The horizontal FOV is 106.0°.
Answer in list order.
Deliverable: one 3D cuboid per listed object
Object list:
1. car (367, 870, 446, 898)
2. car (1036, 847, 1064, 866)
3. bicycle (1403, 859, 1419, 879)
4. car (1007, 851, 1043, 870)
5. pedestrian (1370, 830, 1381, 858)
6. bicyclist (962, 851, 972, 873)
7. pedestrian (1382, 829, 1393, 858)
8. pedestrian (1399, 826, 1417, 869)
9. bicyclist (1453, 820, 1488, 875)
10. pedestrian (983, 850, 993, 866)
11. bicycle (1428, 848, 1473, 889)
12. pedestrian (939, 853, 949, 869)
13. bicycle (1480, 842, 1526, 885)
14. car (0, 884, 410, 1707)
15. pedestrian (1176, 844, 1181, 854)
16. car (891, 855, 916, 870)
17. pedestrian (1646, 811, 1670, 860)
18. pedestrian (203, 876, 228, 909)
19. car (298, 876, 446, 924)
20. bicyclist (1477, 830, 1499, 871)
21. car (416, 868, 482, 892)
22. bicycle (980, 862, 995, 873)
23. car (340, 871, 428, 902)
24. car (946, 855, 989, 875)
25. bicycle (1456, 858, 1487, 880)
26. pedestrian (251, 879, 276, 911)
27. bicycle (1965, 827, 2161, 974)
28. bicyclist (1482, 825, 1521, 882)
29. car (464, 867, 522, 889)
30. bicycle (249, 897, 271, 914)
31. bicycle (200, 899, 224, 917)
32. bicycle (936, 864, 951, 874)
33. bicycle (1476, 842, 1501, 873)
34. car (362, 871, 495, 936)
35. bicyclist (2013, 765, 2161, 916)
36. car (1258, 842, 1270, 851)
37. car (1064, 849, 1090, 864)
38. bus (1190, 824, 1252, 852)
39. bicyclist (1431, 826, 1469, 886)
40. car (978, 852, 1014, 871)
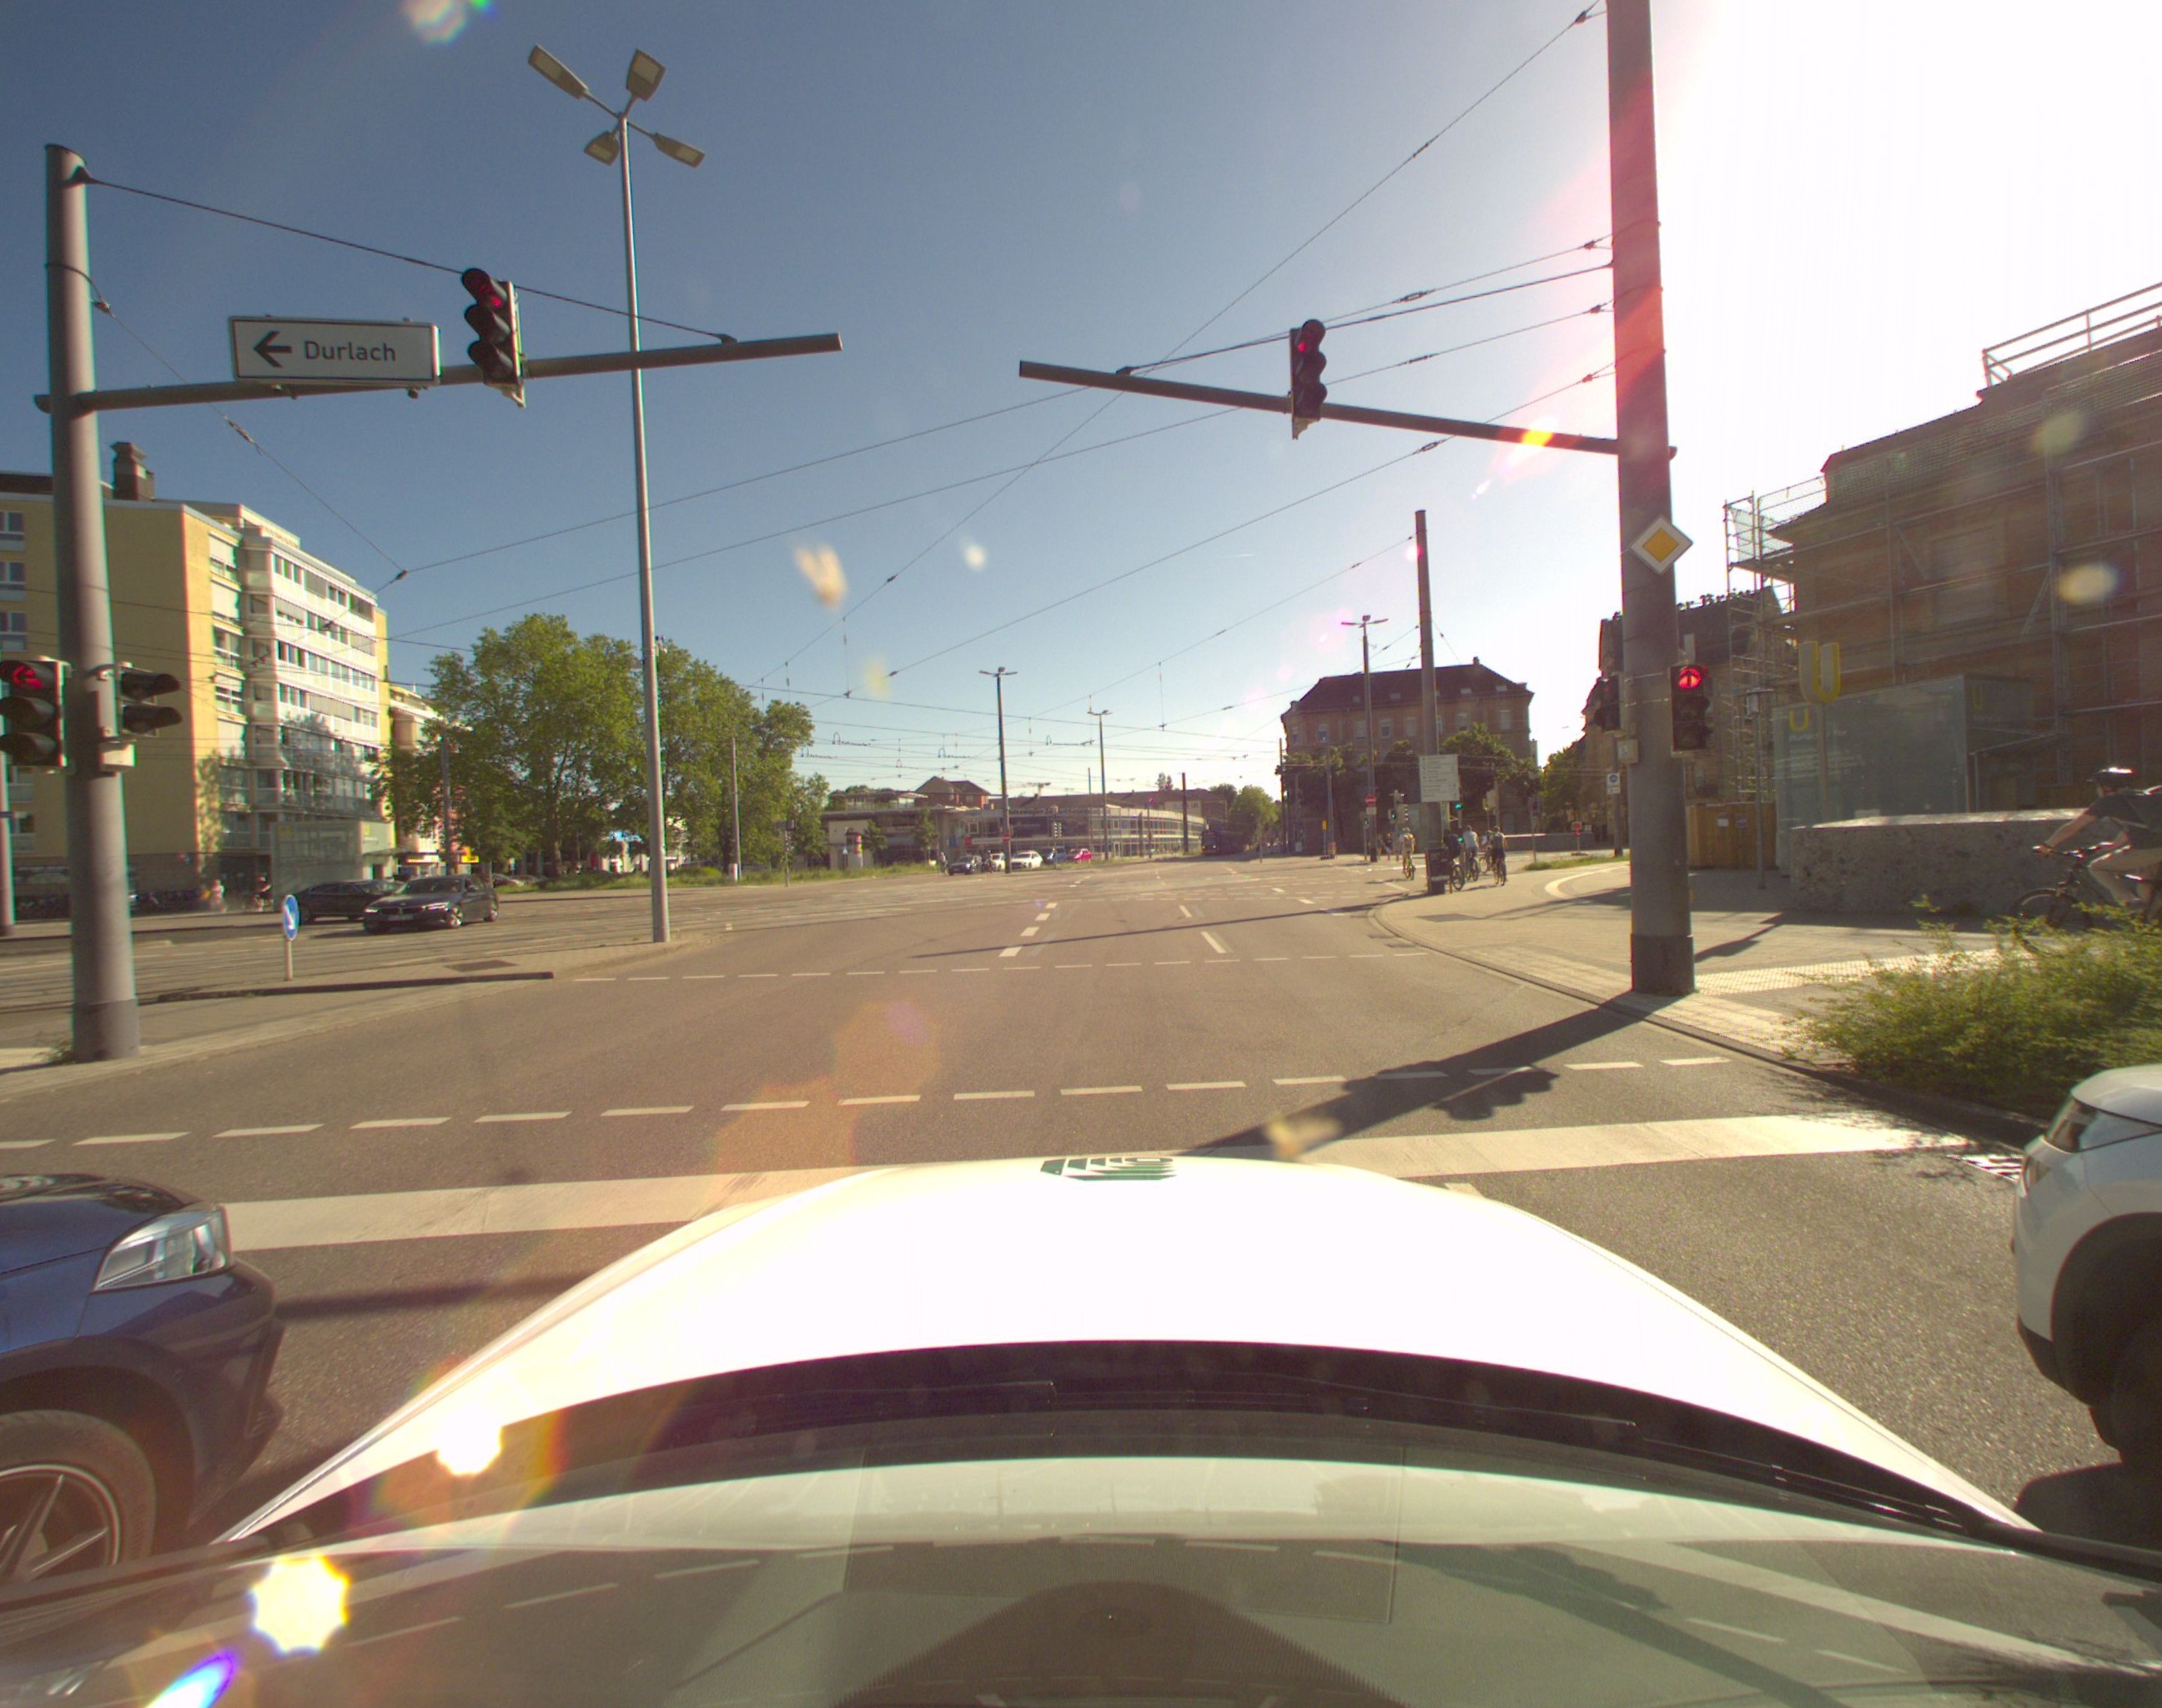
[{"bbox_3d":[-45.729,1.993,55.274,3.742,1.662,1.585,-2,0,-18],"label":"car"},{"bbox_3d":[-2.994,0.241,79.213,1.613,1.692,3.702,-2,0,17],"label":"car"},{"bbox_3d":[12.069,0.541,29.802,0.532,0.655,1.735,-3,0,22],"label":"bicycle"},{"bbox_3d":[-4.475,0.512,65.220,1.613,1.382,3.754,-2,0,17],"label":"car"},{"bbox_3d":[21.364,-0.713,59.094,0.574,2.013,0.449,-3,0,-16],"label":"pedestrian"},{"bbox_3d":[-9.335,0.664,66.674,0.564,1.713,0.651,-2,0,14],"label":"bicyclist"},{"bbox_3d":[21.799,-0.741,57.898,0.461,2.013,0.449,-3,0,-16],"label":"pedestrian"},{"bbox_3d":[11.952,-0.240,29.778,0.543,1.562,0.863,-2,0,22],"label":"pedestrian"},{"bbox_3d":[13.222,-0.217,27.682,0.742,1.778,0.926,-3,0,9],"label":"bicyclist"},{"bbox_3d":[-6.935,0.294,60.714,0.419,1.204,0.753,-2,0,19],"label":"pedestrian"},{"bbox_3d":[10.736,0.418,23.719,0.622,1.114,1.855,-5,-1,8],"label":"bicycle"},{"bbox_3d":[-10.852,0.537,64.564,0.419,1.204,0.684,-2,0,20],"label":"pedestrian"},{"bbox_3d":[12.321,0.270,23.843,0.680,1.163,1.890,-4,-1,13],"label":"bicycle"},{"bbox_3d":[-2.673,0.810,0.110,1.704,1.445,4.034,-1,0,2],"label":"car"},{"bbox_3d":[15.981,-0.839,133.164,0.537,1.688,0.633,-2,0,22],"label":"pedestrian"},{"bbox_3d":[-21.871,1.076,100.591,1.958,1.706,4.085,-2,0,2],"label":"car"},{"bbox_3d":[22.744,-0.727,32.129,0.692,1.881,0.725,-2,0,34],"label":"pedestrian"},{"bbox_3d":[-43.493,1.928,40.925,0.719,1.560,0.551,-2,0,-36],"label":"pedestrian"},{"bbox_3d":[-24.552,1.575,28.241,4.133,1.438,1.734,-2,0,13],"label":"car"},{"bbox_3d":[15.889,-0.147,31.823,0.567,1.568,0.951,-3,0,18],"label":"bicyclist"},{"bbox_3d":[-49.817,2.050,64.292,3.742,1.662,1.585,-2,0,-18],"label":"car"},{"bbox_3d":[-6.969,1.004,60.543,0.419,0.718,1.642,-2,0,19],"label":"bicycle"},{"bbox_3d":[-42.856,1.955,50.163,3.742,1.662,1.585,-2,0,-18],"label":"car"},{"bbox_3d":[-8.500,0.784,61.240,1.689,1.354,3.719,-2,0,19],"label":"car"},{"bbox_3d":[13.249,0.496,27.640,0.534,0.655,1.471,-3,0,9],"label":"bicycle"},{"bbox_3d":[-42.030,2.108,41.869,0.771,1.560,0.609,-2,0,-34],"label":"pedestrian"},{"bbox_3d":[9.499,0.384,7.498,0.687,1.218,1.836,-4,0,2],"label":"bicycle"},{"bbox_3d":[12.325,-0.026,23.902,0.680,1.598,0.981,-4,-1,13],"label":"bicyclist"},{"bbox_3d":[-51.391,2.078,71.216,3.742,1.662,1.585,-2,0,-18],"label":"car"},{"bbox_3d":[-42.026,2.618,41.704,0.462,0.780,1.789,-2,0,-35],"label":"bicycle"},{"bbox_3d":[-43.573,2.679,40.829,0.489,0.812,1.595,-2,0,-35],"label":"bicycle"},{"bbox_3d":[-10.859,1.204,64.472,0.419,0.718,1.483,-2,0,21],"label":"bicycle"},{"bbox_3d":[15.904,0.127,31.819,0.567,1.125,1.748,-3,0,18],"label":"bicycle"},{"bbox_3d":[-18.025,1.295,22.745,1.868,1.501,4.529,-2,0,-26],"label":"car"},{"bbox_3d":[9.441,-0.137,7.450,0.717,1.279,0.908,-4,0,1],"label":"bicyclist"},{"bbox_3d":[32.532,-1.346,144.891,1.686,1.503,4.284,-2,0,17],"label":"car"},{"bbox_3d":[-0.441,0.248,86.284,1.613,1.364,3.703,-2,0,18],"label":"car"},{"bbox_3d":[20.661,-2.134,117.913,3.804,3.607,24.996,-1,0,21],"label":"bus"},{"bbox_3d":[10.687,0.057,23.609,0.622,1.637,0.997,-5,-1,8],"label":"bicyclist"},{"bbox_3d":[-6.980,0.567,67.163,1.613,1.424,3.702,-2,0,17],"label":"car"}]
